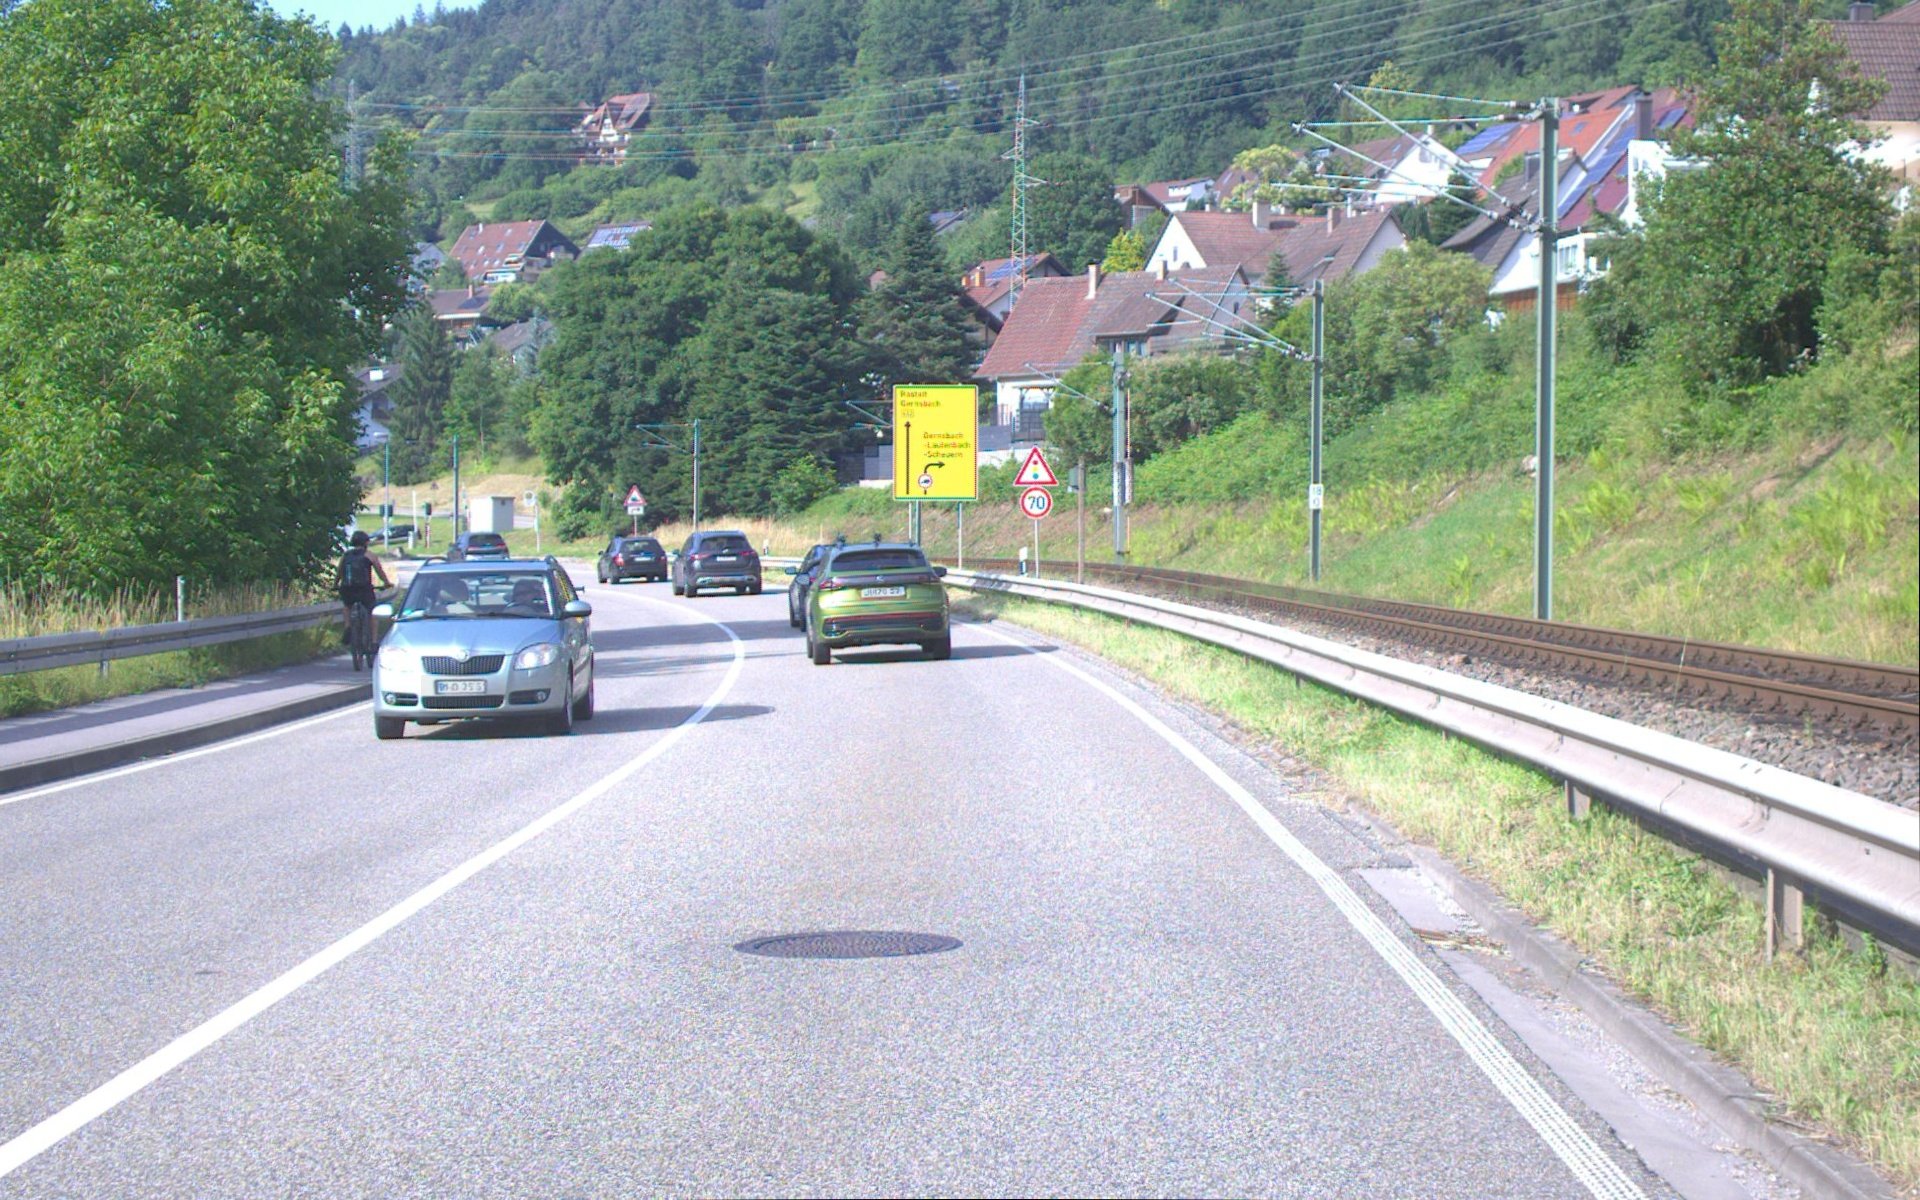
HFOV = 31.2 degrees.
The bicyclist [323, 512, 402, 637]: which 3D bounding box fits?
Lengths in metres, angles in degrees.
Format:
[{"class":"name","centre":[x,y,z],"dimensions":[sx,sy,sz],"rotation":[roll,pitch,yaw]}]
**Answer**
[{"class":"bicyclist","centre":[-7.752,-0.343,44.626],"dimensions":[0.558,1.581,1.035],"rotation":[3,2,17]}]

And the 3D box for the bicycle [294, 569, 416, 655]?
[{"class":"bicycle","centre":[-7.817,0.138,44.530],"dimensions":[0.558,1.042,2.227],"rotation":[3,2,17]}]

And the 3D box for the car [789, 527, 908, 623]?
[{"class":"car","centre":[-1.921,-0.454,58.361],"dimensions":[1.667,1.554,4.001],"rotation":[-1,1,-7]}]

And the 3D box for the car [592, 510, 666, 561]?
[{"class":"car","centre":[-10.431,-2.043,108.154],"dimensions":[1.848,1.521,3.664],"rotation":[-1,2,-13]}]

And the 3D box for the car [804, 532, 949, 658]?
[{"class":"car","centre":[-1.038,-0.101,43.899],"dimensions":[1.714,1.450,4.000],"rotation":[-2,2,0]}]

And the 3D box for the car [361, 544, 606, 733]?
[{"class":"car","centre":[-4.086,0.282,30.006],"dimensions":[1.577,1.474,4.000],"rotation":[-2,1,-1]}]

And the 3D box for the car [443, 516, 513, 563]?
[{"class":"car","centre":[-19.927,-2.471,142.012],"dimensions":[2.063,1.805,4.001],"rotation":[-3,1,-19]}]

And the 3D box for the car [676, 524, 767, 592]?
[{"class":"car","centre":[-6.087,-1.081,87.373],"dimensions":[1.879,1.681,4.001],"rotation":[0,1,-10]}]
